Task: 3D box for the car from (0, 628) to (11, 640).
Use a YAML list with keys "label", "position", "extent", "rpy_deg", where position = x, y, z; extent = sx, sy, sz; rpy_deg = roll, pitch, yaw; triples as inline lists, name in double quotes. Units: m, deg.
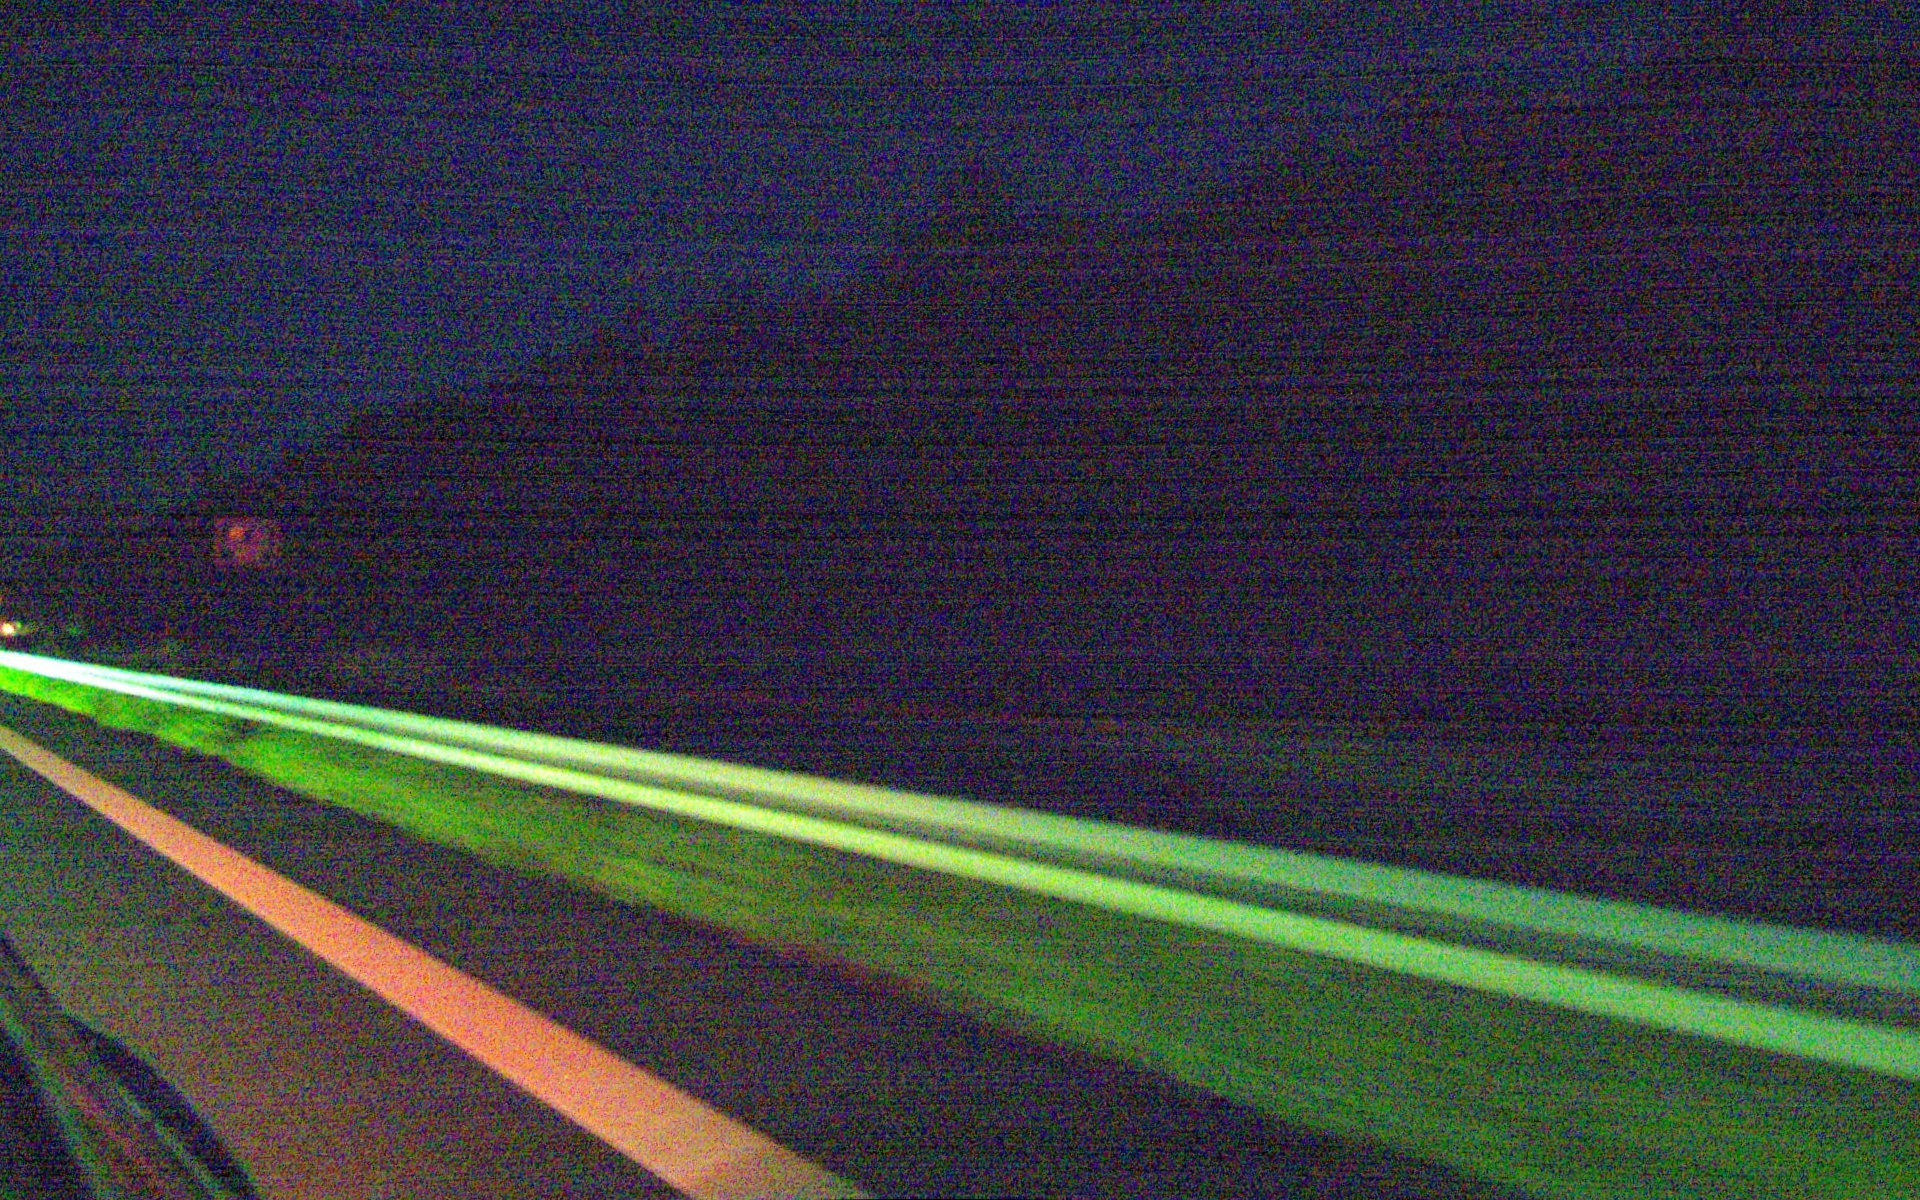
- label: "car"
  position: [-121.526, 4.298, 127.659]
  extent: [5.196, 1.515, 1.973]
  rpy_deg: [-1, -3, 40]
